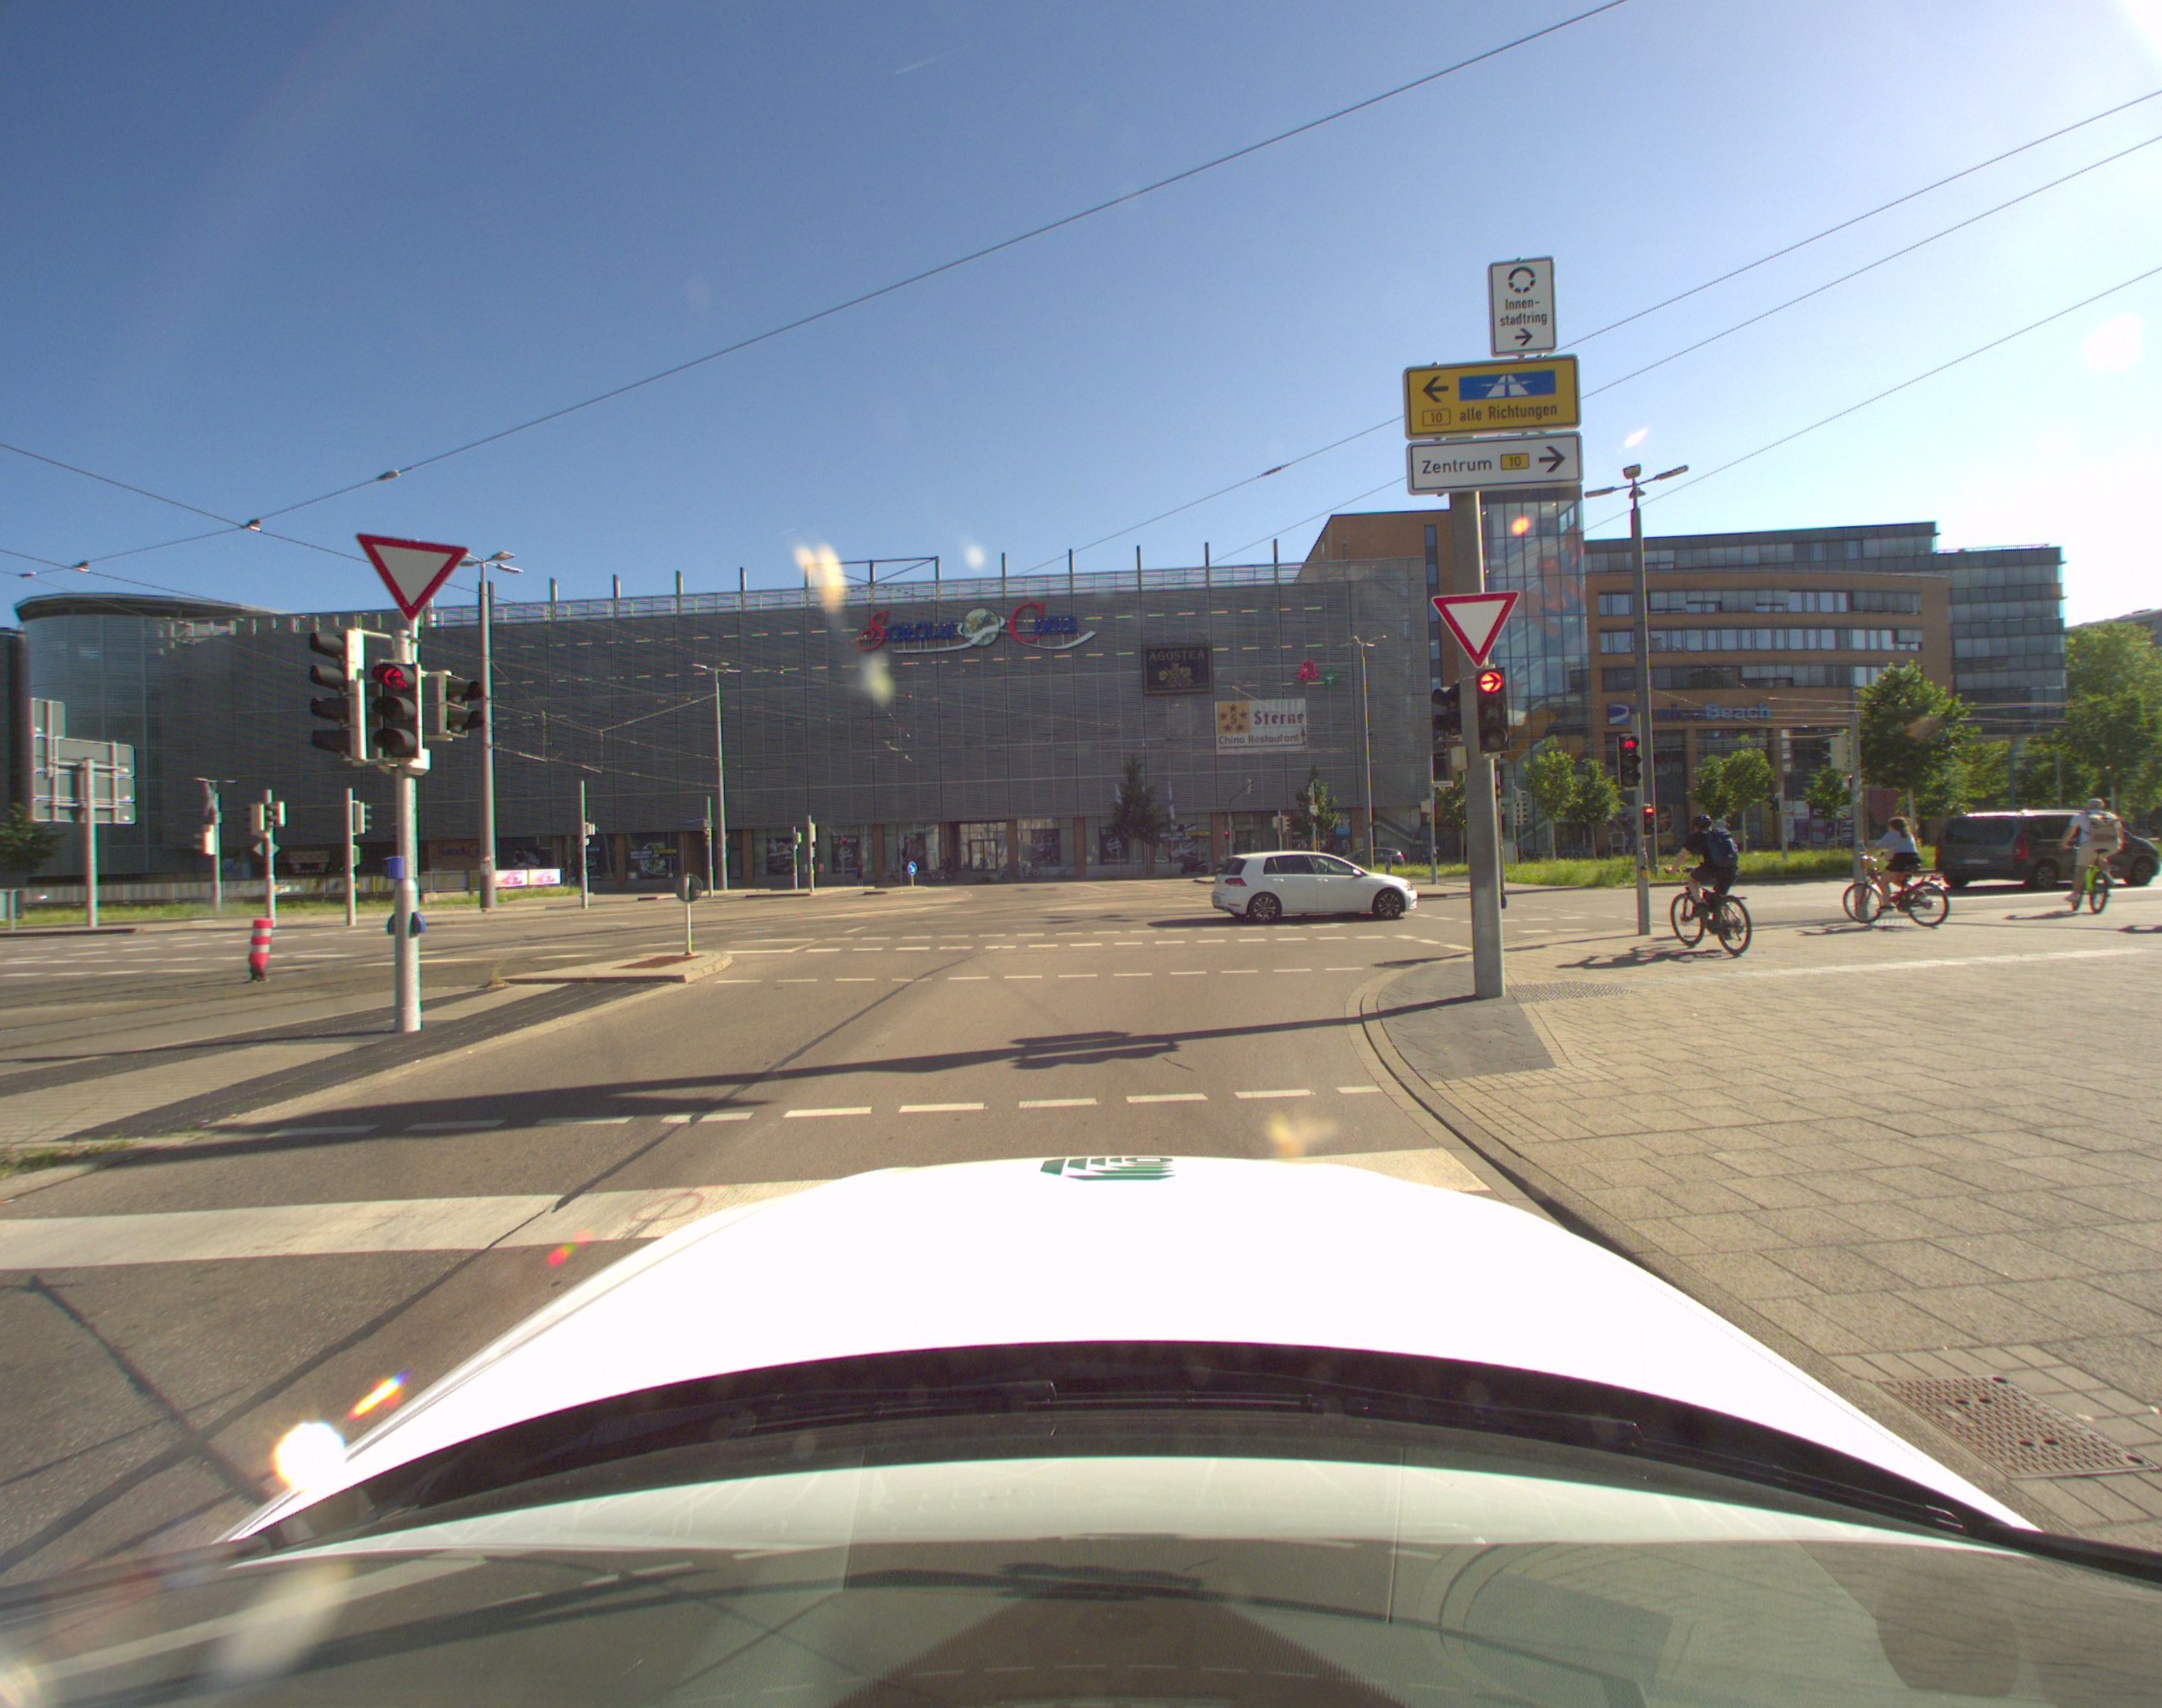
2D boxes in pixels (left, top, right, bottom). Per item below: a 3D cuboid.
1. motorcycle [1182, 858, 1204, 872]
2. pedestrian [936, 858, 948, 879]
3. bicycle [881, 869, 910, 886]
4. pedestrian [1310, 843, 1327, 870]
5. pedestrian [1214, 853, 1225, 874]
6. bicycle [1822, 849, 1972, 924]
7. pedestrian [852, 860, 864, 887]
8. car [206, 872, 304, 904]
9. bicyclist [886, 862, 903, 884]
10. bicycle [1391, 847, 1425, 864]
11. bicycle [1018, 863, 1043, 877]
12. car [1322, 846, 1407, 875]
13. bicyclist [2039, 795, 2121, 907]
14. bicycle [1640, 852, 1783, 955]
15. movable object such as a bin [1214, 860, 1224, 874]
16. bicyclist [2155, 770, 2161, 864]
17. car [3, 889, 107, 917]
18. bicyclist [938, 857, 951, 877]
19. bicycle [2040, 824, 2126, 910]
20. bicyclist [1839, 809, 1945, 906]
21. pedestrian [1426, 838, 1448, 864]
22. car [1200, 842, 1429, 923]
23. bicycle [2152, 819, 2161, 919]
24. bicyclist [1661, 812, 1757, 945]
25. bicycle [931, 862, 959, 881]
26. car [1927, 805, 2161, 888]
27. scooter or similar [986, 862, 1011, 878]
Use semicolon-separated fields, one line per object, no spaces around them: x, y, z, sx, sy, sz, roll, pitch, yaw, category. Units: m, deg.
8.311;0.828;60.593;1.630;1.004;0.448;0;0;8;motorcycle
-10.452;1.092;61.349;0.654;1.601;0.597;-1;-1;20;pedestrian
-12.587;1.583;55.307;0.562;1.086;1.874;-1;2;45;bicycle
16.985;0.215;58.302;0.945;1.829;0.847;-3;-4;7;pedestrian
9.403;0.628;55.200;0.650;1.414;0.853;-1;-1;12;pedestrian
12.597;0.477;12.657;0.663;1.072;1.824;-2;-1;8;bicycle
-15.204;1.309;55.459;0.695;1.797;0.727;-3;0;-14;pedestrian
-51.983;2.151;51.318;4.311;1.863;1.841;-1;-1;1;car
-12.630;1.273;55.235;0.667;1.427;0.855;-1;2;45;bicyclist
24.341;0.108;60.616;2.247;1.296;0.606;0;-1;0;bicycle
-3.783;1.172;60.788;1.815;0.989;0.556;-2;1;-8;bicycle
15.870;0.381;45.666;4.132;1.470;1.841;2;-1;0;car
16.399;-0.010;13.394;1.099;1.726;0.708;7;-7;-43;bicyclist
8.132;0.580;10.625;0.631;1.197;2.162;-2;0;14;bicycle
9.270;0.879;54.737;0.608;0.904;0.972;-1;-1;12;movable object such as a bin
15.247;-0.229;10.949;0.752;1.866;0.802;-1;-2;-29;bicyclist
-65.972;3.128;52.410;4.274;1.584;1.841;2;-1;1;car
-9.839;0.965;58.822;0.750;1.386;0.566;-2;1;1;bicyclist
16.393;0.252;13.363;1.758;1.328;0.707;4;-5;-43;bicycle
12.564;0.073;12.650;0.663;1.436;0.942;-2;-3;8;bicyclist
26.088;-0.225;59.648;1.020;1.828;1.024;-3;0;-34;pedestrian
4.851;0.561;17.260;4.277;1.472;1.861;-2;0;-7;car
15.190;0.174;10.912;2.161;1.301;0.751;-1;-1;-31;bicycle
8.109;0.306;10.561;0.624;1.629;0.975;-2;-1;15;bicyclist
-9.839;1.256;58.834;1.850;1.217;0.569;-2;1;1;bicycle
23.153;-0.195;19.458;4.453;1.791;1.705;-2;0;-7;car
-6.186;1.201;61.229;1.790;1.066;0.611;-2;1;-6;scooter or similar
